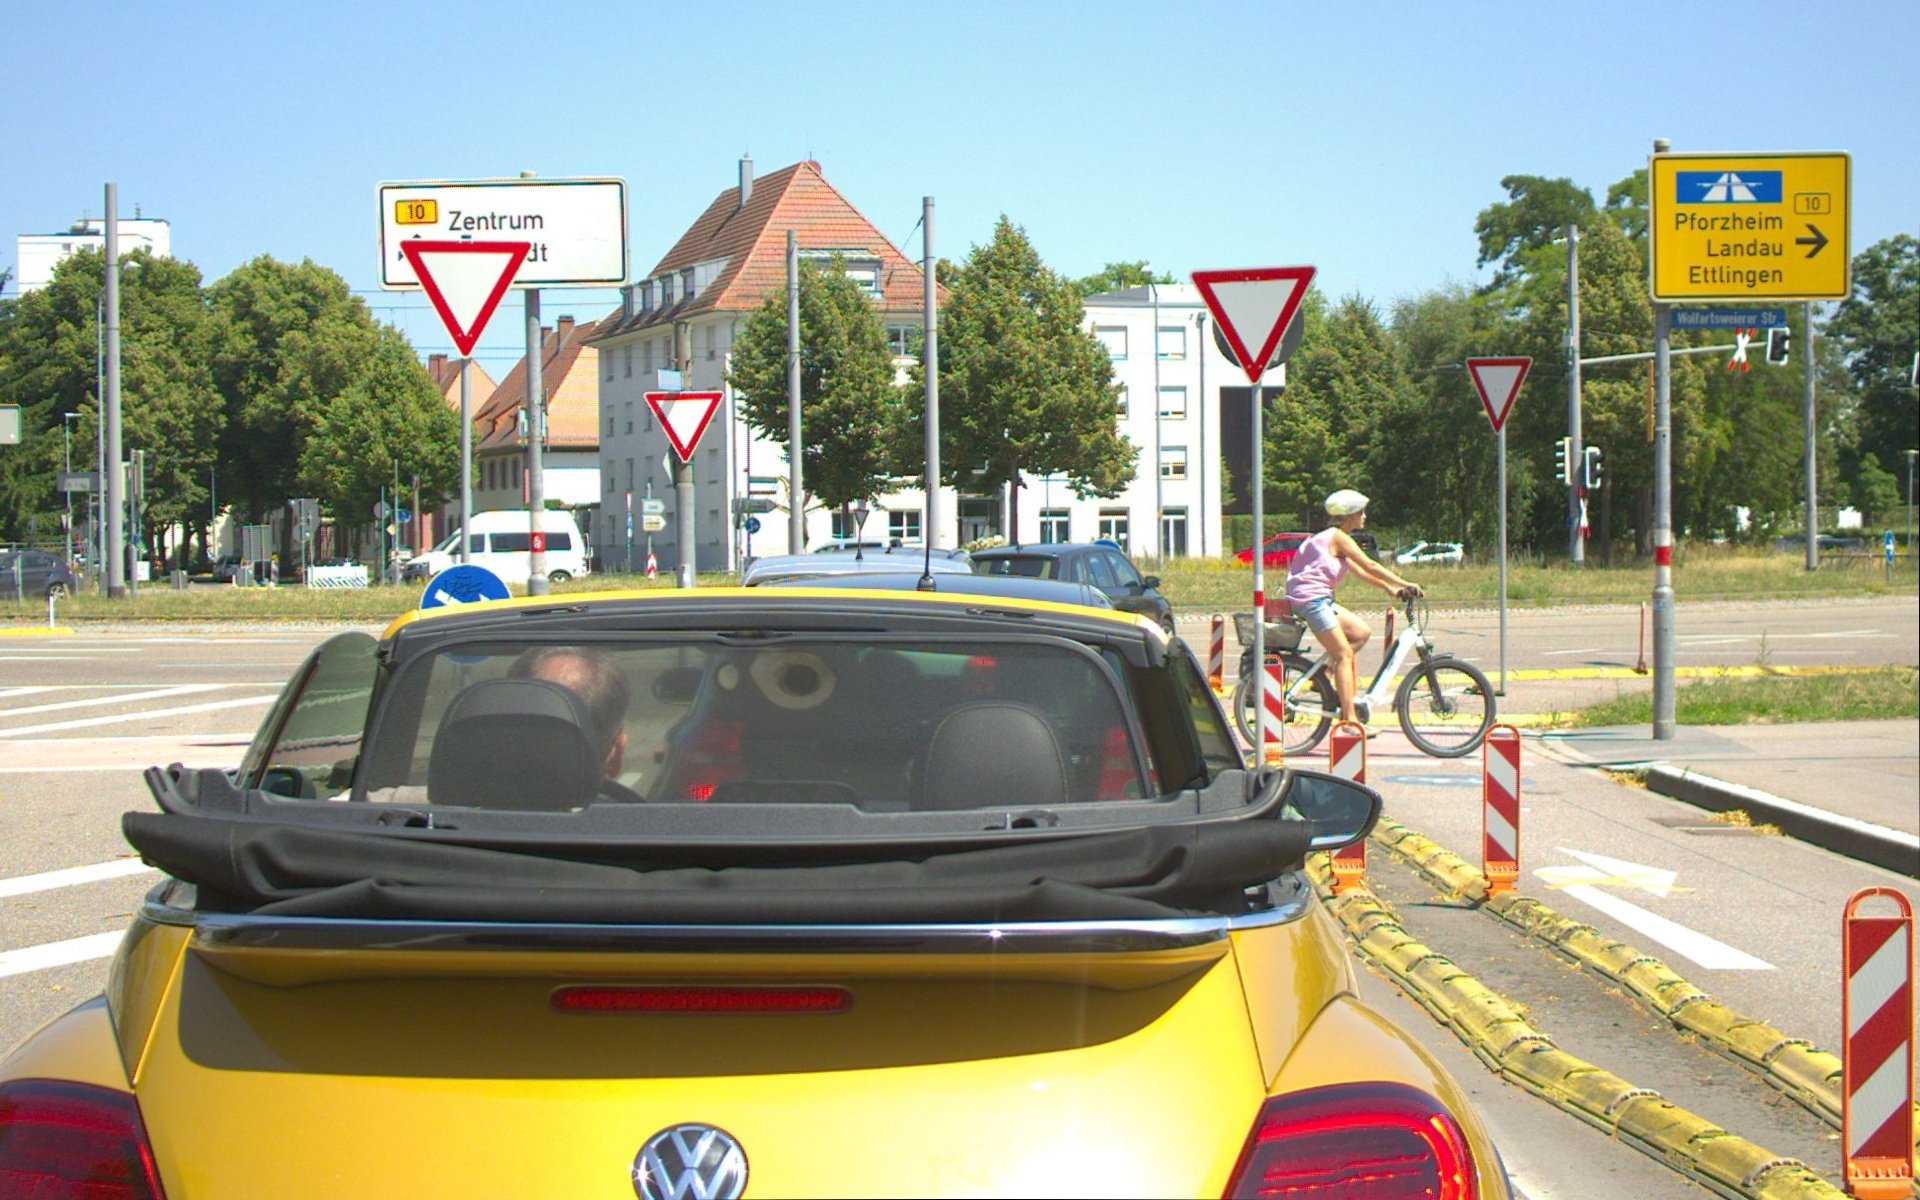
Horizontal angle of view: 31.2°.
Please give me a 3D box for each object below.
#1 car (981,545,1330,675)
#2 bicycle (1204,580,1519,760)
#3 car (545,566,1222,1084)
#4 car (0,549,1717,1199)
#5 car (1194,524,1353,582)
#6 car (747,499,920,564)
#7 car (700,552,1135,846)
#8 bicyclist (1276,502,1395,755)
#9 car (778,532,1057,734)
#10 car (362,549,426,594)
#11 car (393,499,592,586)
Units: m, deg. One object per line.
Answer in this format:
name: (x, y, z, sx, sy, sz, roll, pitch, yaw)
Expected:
car: (1.972, 0.101, 34.690, 3.206, 1.254, 1.439, 1, 1, -25)
bicycle: (2.822, 0.483, 24.195, 2.094, 1.217, 0.633, 0, 1, 22)
car: (-0.234, 0.602, 11.637, 1.851, 1.361, 4.258, -1, 1, -1)
car: (-0.267, 0.681, 5.076, 1.765, 1.476, 4.258, 1, 1, -1)
car: (9.404, -1.408, 103.079, 4.338, 1.648, 1.898, 1, 1, 25)
car: (-4.147, -2.252, 112.733, 5.317, 2.063, 1.992, 1, 1, 22)
car: (-0.191, 0.454, 18.589, 2.065, 1.377, 4.258, 1, 1, 0)
bicyclist: (2.650, 0.193, 24.239, 0.670, 1.746, 0.592, -1, 2, 21)
car: (-0.342, 0.203, 27.946, 2.065, 1.476, 4.543, -1, 1, -1)
car: (-22.861, -1.144, 138.810, 1.884, 1.766, 4.001, 1, 1, -19)
car: (-13.396, -1.625, 98.528, 5.309, 2.389, 1.995, 1, 0, -21)
